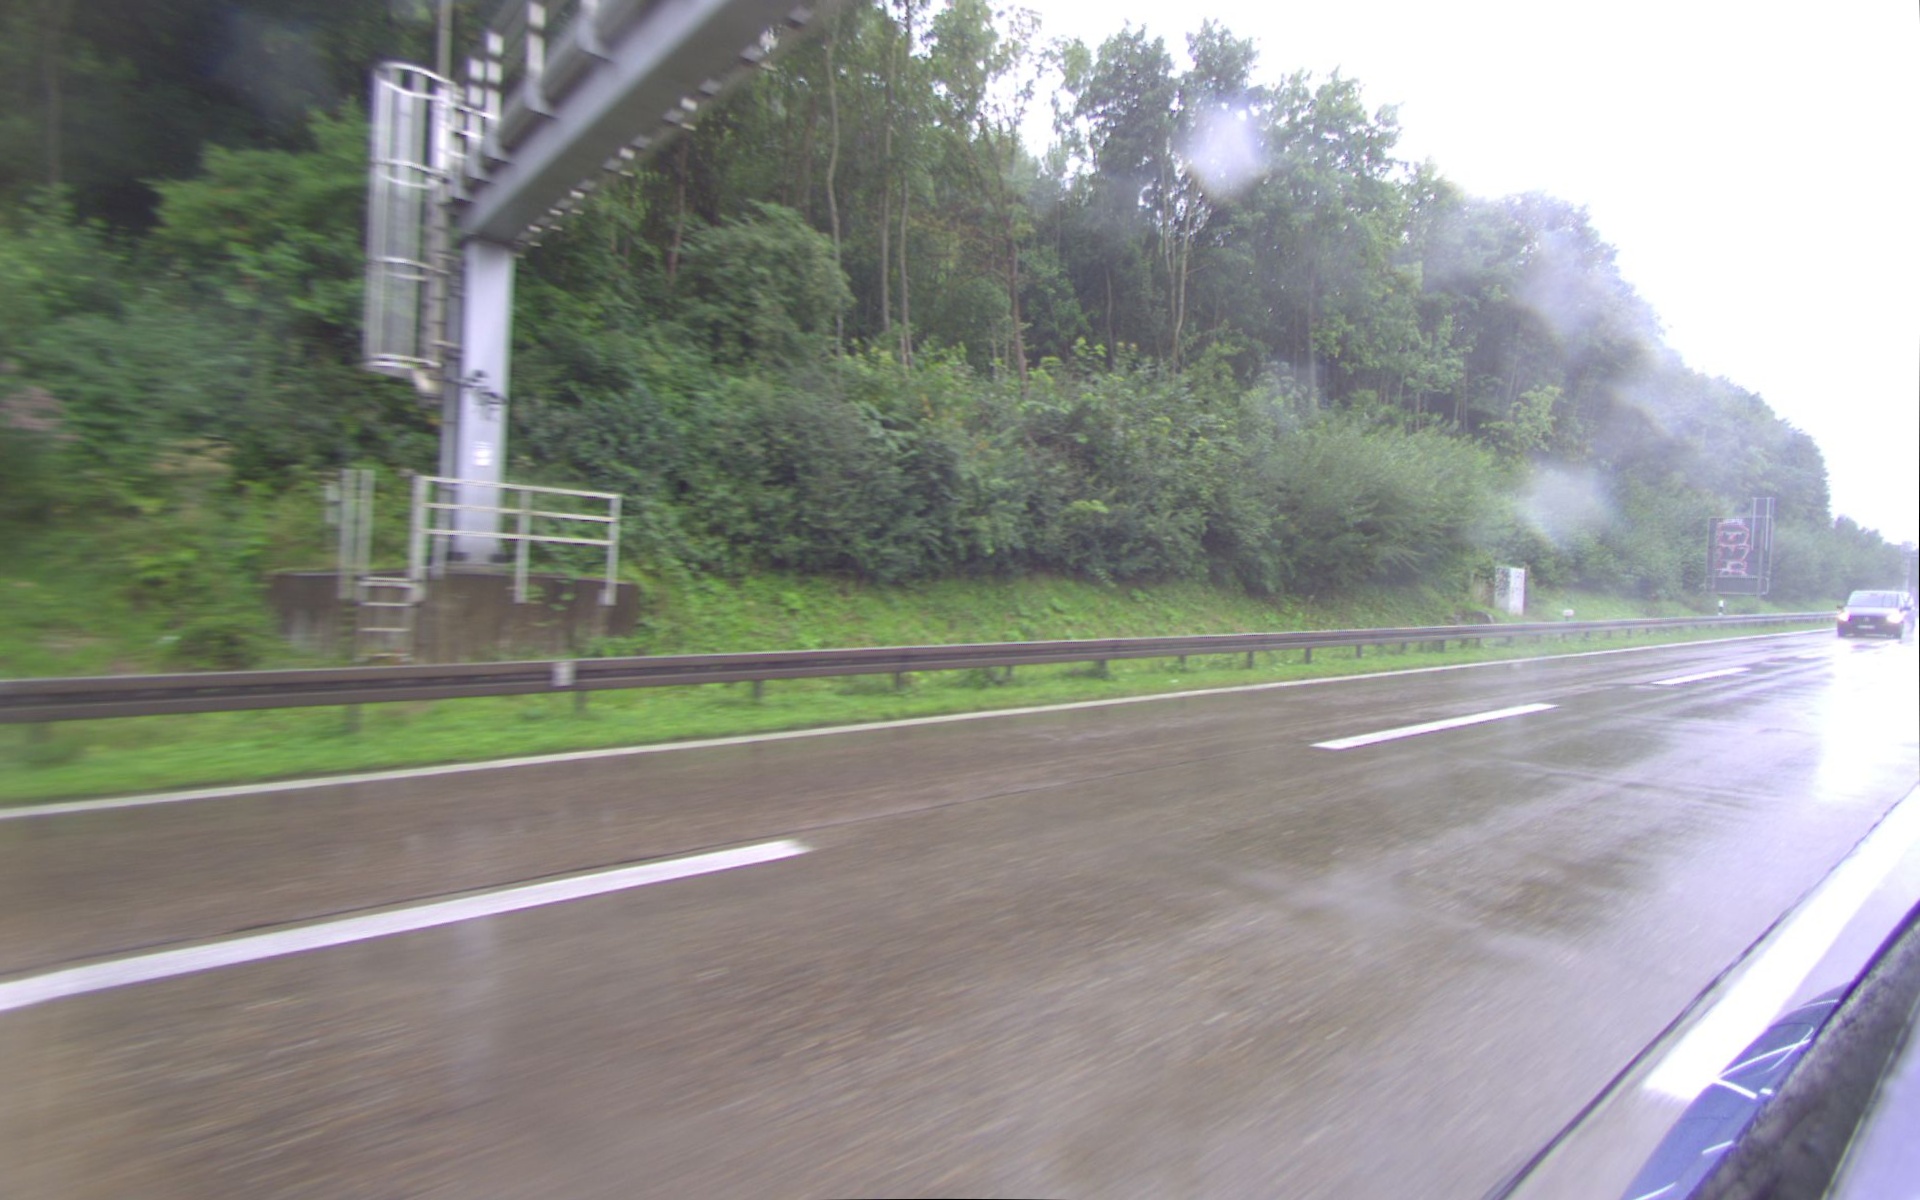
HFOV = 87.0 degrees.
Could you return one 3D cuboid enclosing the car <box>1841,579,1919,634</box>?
[{"bbox_3d":[36.189,0.218,39.614,3.927,2.039,1.859,0,1,-38],"label":"car"}]
